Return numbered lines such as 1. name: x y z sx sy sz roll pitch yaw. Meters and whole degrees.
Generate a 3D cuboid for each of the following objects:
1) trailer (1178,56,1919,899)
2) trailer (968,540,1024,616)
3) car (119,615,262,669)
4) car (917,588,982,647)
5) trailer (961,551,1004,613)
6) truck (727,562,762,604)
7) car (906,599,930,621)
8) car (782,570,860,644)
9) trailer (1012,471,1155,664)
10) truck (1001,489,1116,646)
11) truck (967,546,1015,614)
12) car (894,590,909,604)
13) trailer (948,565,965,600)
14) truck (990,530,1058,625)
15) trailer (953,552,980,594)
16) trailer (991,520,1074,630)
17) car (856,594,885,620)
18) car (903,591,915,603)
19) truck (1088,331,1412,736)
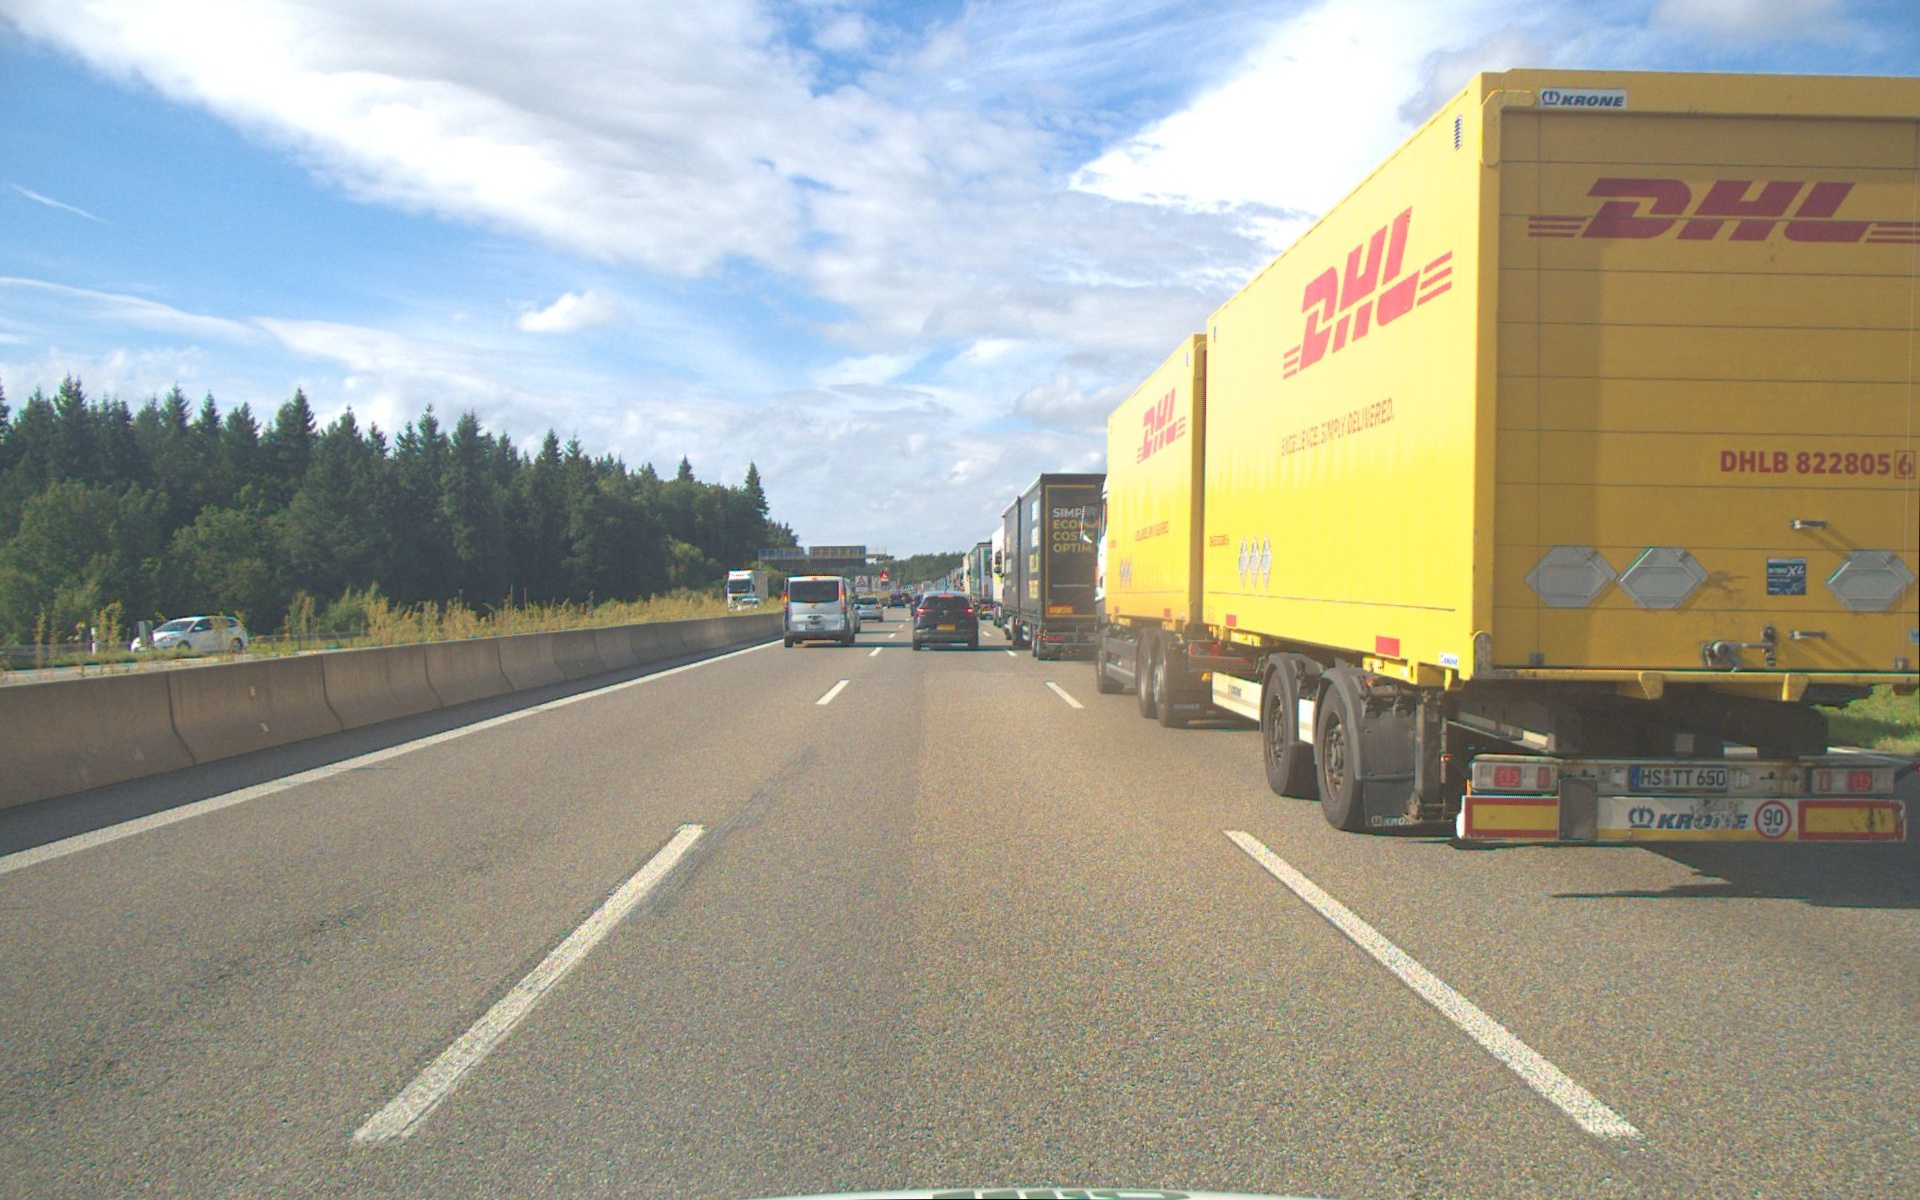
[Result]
1. trailer: 3.559 -0.631 12.684 2.363 4.139 8.925 1 0 -1
2. trailer: 1.942 -1.166 93.532 2.607 3.936 13.392 -2 0 -1
3. car: -27.775 1.472 59.916 1.951 1.831 4.981 1 0 14
4. car: -0.315 0.460 45.174 1.662 1.509 4.159 1 0 -1
5. trailer: 1.538 -1.266 119.217 2.648 4.153 12.942 -2 0 -1
6. truck: -21.311 -1.692 163.889 2.762 4.045 5.831 -1 0 -2
7. car: -2.766 0.643 109.836 1.549 1.420 3.206 1 0 -2
8. car: -4.037 0.192 48.639 1.893 2.013 5.097 1 0 -1
9. trailer: 2.752 -0.744 39.395 2.660 4.030 8.711 1 1 0
10. truck: 2.726 -0.856 48.836 2.685 4.109 10.202 1 0 0
11. truck: 1.858 -1.158 100.934 2.593 3.936 6.995 -2 0 -1
12. car: -5.845 -0.293 165.328 1.406 1.333 3.532 1 0 -1
13. trailer: -0.458 -2.240 210.977 2.106 4.333 8.439 -2 0 0
14. truck: 2.779 -0.971 73.529 2.744 4.008 5.825 -1 0 0
15. trailer: 0.650 -2.960 183.808 2.745 4.318 11.056 -2 0 0
16. trailer: 2.795 -0.934 67.357 2.734 4.007 13.068 -1 0 0
17. car: -4.992 0.401 92.907 1.469 1.420 3.475 1 0 -1
18. car: -6.187 -0.353 199.706 1.406 1.333 3.532 1 0 -1
19. truck: 3.380 -0.717 21.976 2.363 4.139 9.662 1 0 -1
